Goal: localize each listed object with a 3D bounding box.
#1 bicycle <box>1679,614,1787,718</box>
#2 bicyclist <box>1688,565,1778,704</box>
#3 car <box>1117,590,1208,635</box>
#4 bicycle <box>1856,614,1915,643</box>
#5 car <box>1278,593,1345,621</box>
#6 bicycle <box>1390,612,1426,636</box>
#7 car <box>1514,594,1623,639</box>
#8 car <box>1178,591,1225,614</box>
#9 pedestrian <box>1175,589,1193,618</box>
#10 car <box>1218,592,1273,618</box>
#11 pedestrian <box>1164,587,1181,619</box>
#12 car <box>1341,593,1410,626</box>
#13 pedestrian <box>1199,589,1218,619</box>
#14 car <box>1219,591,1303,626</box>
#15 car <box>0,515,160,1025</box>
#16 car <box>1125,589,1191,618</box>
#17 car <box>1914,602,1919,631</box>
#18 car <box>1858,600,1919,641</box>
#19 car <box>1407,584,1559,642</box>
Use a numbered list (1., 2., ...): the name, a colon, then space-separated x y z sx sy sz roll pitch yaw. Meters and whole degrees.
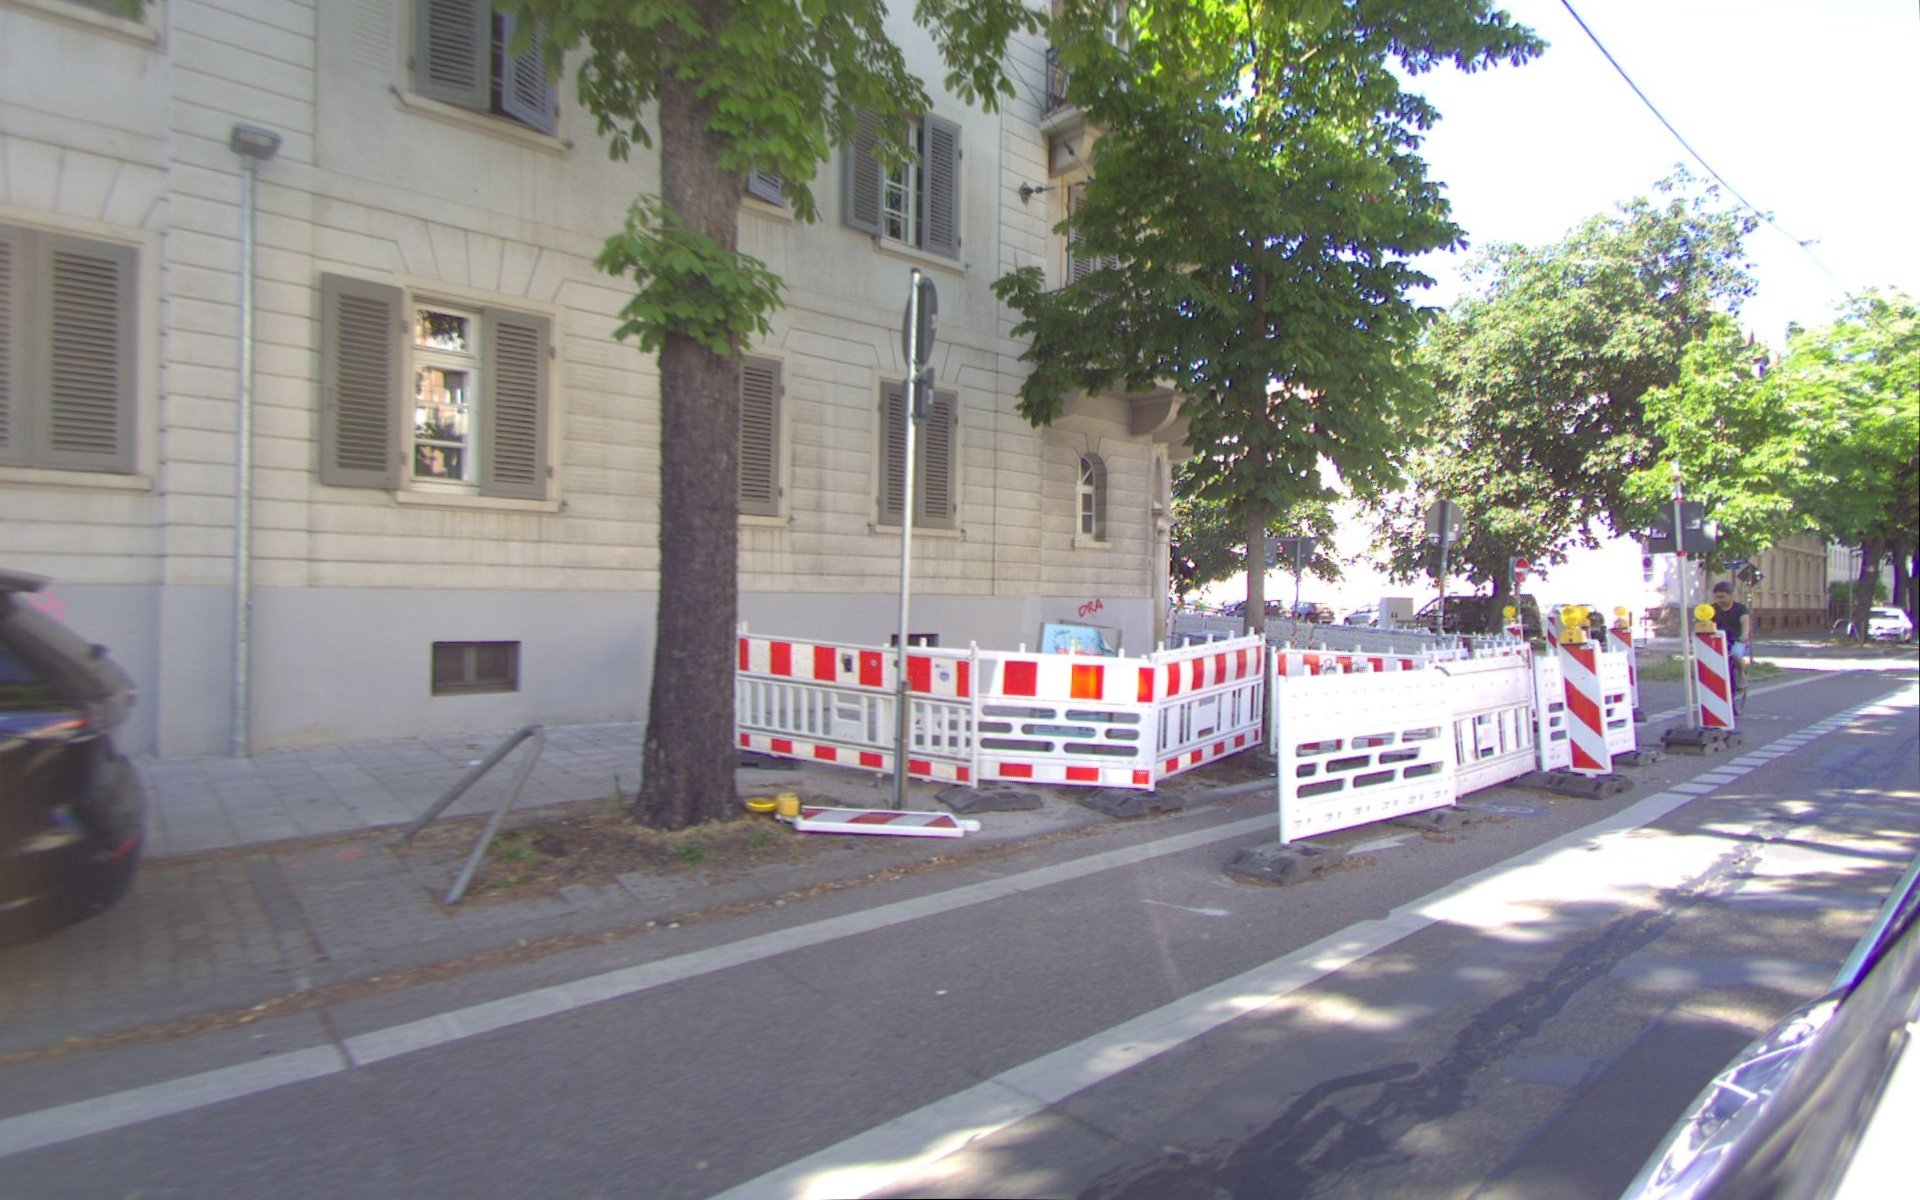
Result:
1. bicycle: 10.313 0.829 13.472 2.059 1.258 0.762 0 -1 -42
2. bicyclist: 10.265 0.437 13.434 1.028 1.761 0.762 1 -1 -41
3. car: 7.613 0.438 38.478 1.749 1.505 3.981 3 0 -15
4. bicycle: 34.537 1.045 37.772 1.564 0.992 0.631 3 1 41
5. car: 19.335 0.383 55.827 1.605 1.434 3.971 -1 1 -13
6. bicycle: 16.589 0.880 37.493 0.410 0.787 1.386 1 1 -16
7. car: 23.646 0.608 39.443 1.687 1.557 3.447 -2 1 -13
8. car: 16.366 0.156 68.711 1.605 1.519 3.644 -1 1 -13
9. pedestrian: 12.448 0.180 56.217 0.826 1.588 0.575 0 0 -17
10. car: 17.532 0.267 62.263 1.605 1.519 3.777 -1 1 -13
11. pedestrian: 12.268 0.168 58.437 0.826 1.865 0.575 0 0 -17
12. car: 20.667 0.432 50.450 1.408 1.519 3.509 -1 1 -13
13. pedestrian: 13.214 0.209 53.869 0.826 1.588 0.575 0 0 -17
14. car: 15.207 0.373 51.426 1.895 1.629 4.630 -1 1 -15
15. car: -5.065 0.488 2.727 4.503 1.646 1.815 0 3 -41
16. car: 12.142 0.167 62.489 1.958 1.650 5.078 -1 1 -15
17. car: 51.655 0.896 53.283 4.670 1.502 1.821 0 2 -44
18. car: 38.118 0.805 41.238 4.140 1.490 1.704 0 2 -41
19. car: 18.880 0.405 36.849 1.958 1.914 5.078 -1 1 -15
